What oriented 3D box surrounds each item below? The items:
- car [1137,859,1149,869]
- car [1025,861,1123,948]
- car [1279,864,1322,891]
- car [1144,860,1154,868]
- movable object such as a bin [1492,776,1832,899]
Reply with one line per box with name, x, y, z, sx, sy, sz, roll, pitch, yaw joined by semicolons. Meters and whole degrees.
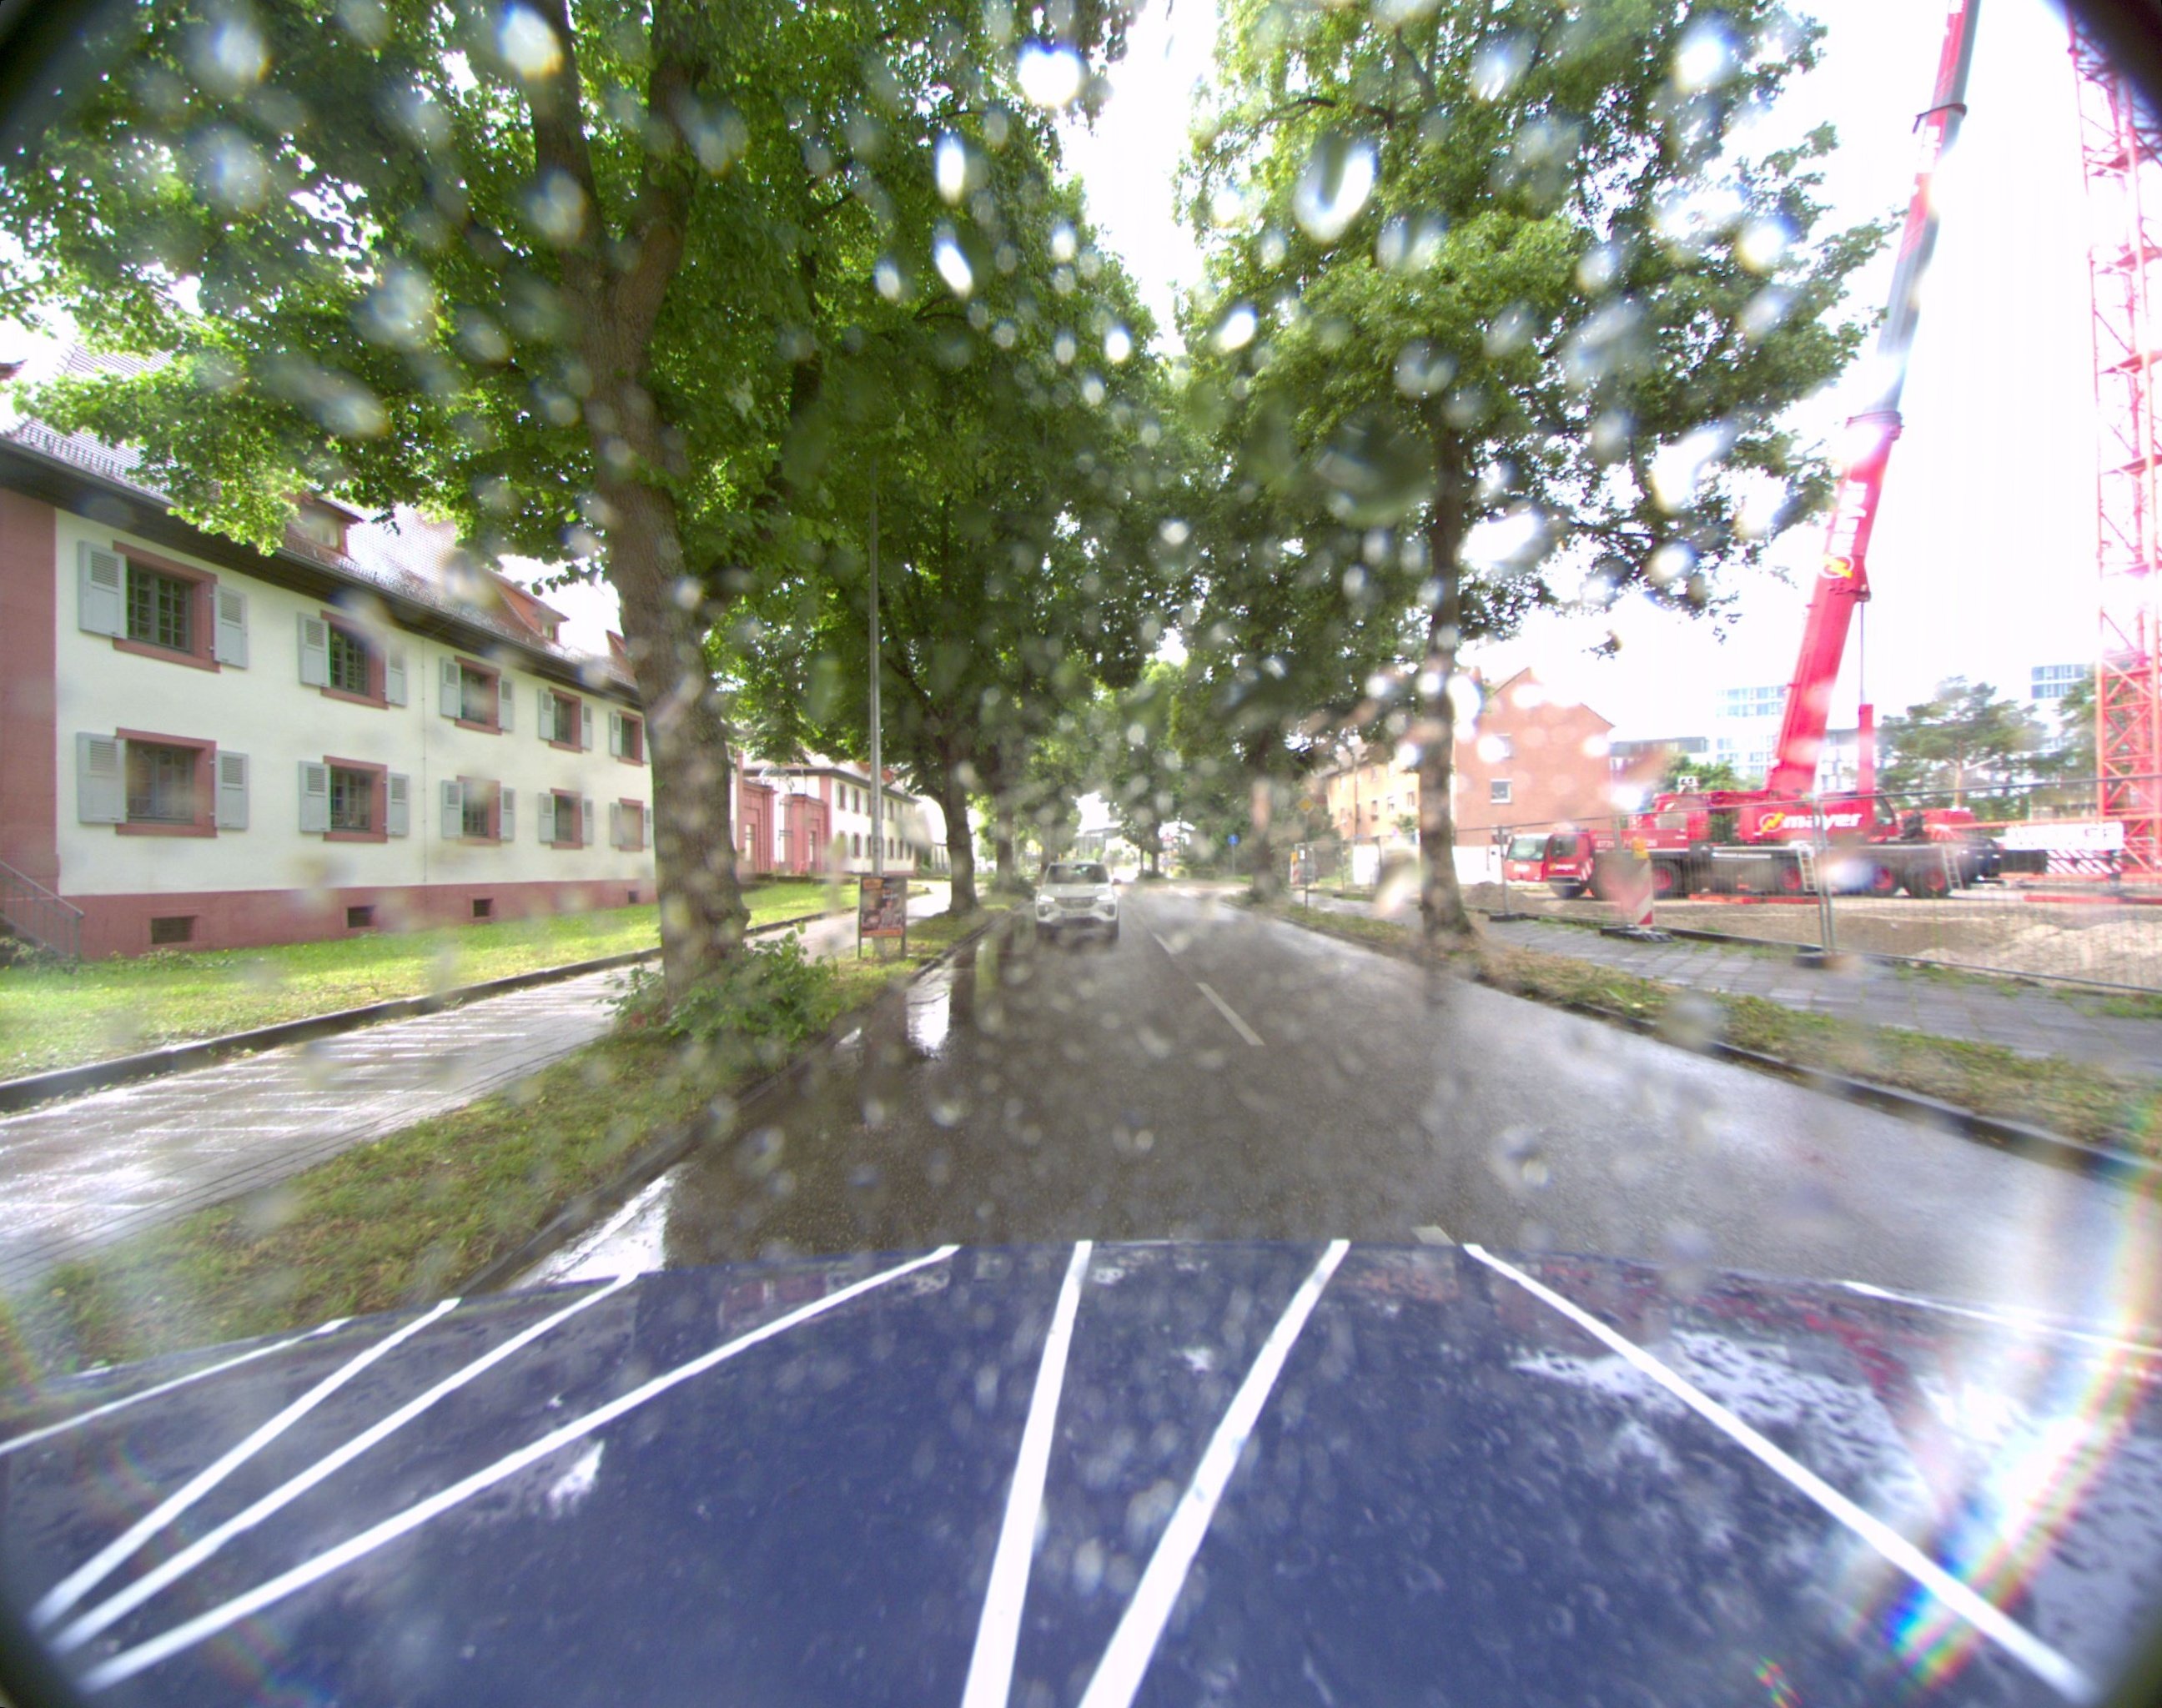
car;11.210;1.803;137.028;1.891;1.703;4.230;0;-1;1
car;-0.061;0.926;15.470;1.736;1.524;3.617;-1;0;2
car;13.481;1.436;46.823;1.628;1.412;3.870;-2;1;2
car;13.235;1.913;147.740;1.683;1.499;3.795;0;-1;4
movable object such as a bin;21.205;-0.532;28.307;9.834;4.090;3.367;-1;-1;3
